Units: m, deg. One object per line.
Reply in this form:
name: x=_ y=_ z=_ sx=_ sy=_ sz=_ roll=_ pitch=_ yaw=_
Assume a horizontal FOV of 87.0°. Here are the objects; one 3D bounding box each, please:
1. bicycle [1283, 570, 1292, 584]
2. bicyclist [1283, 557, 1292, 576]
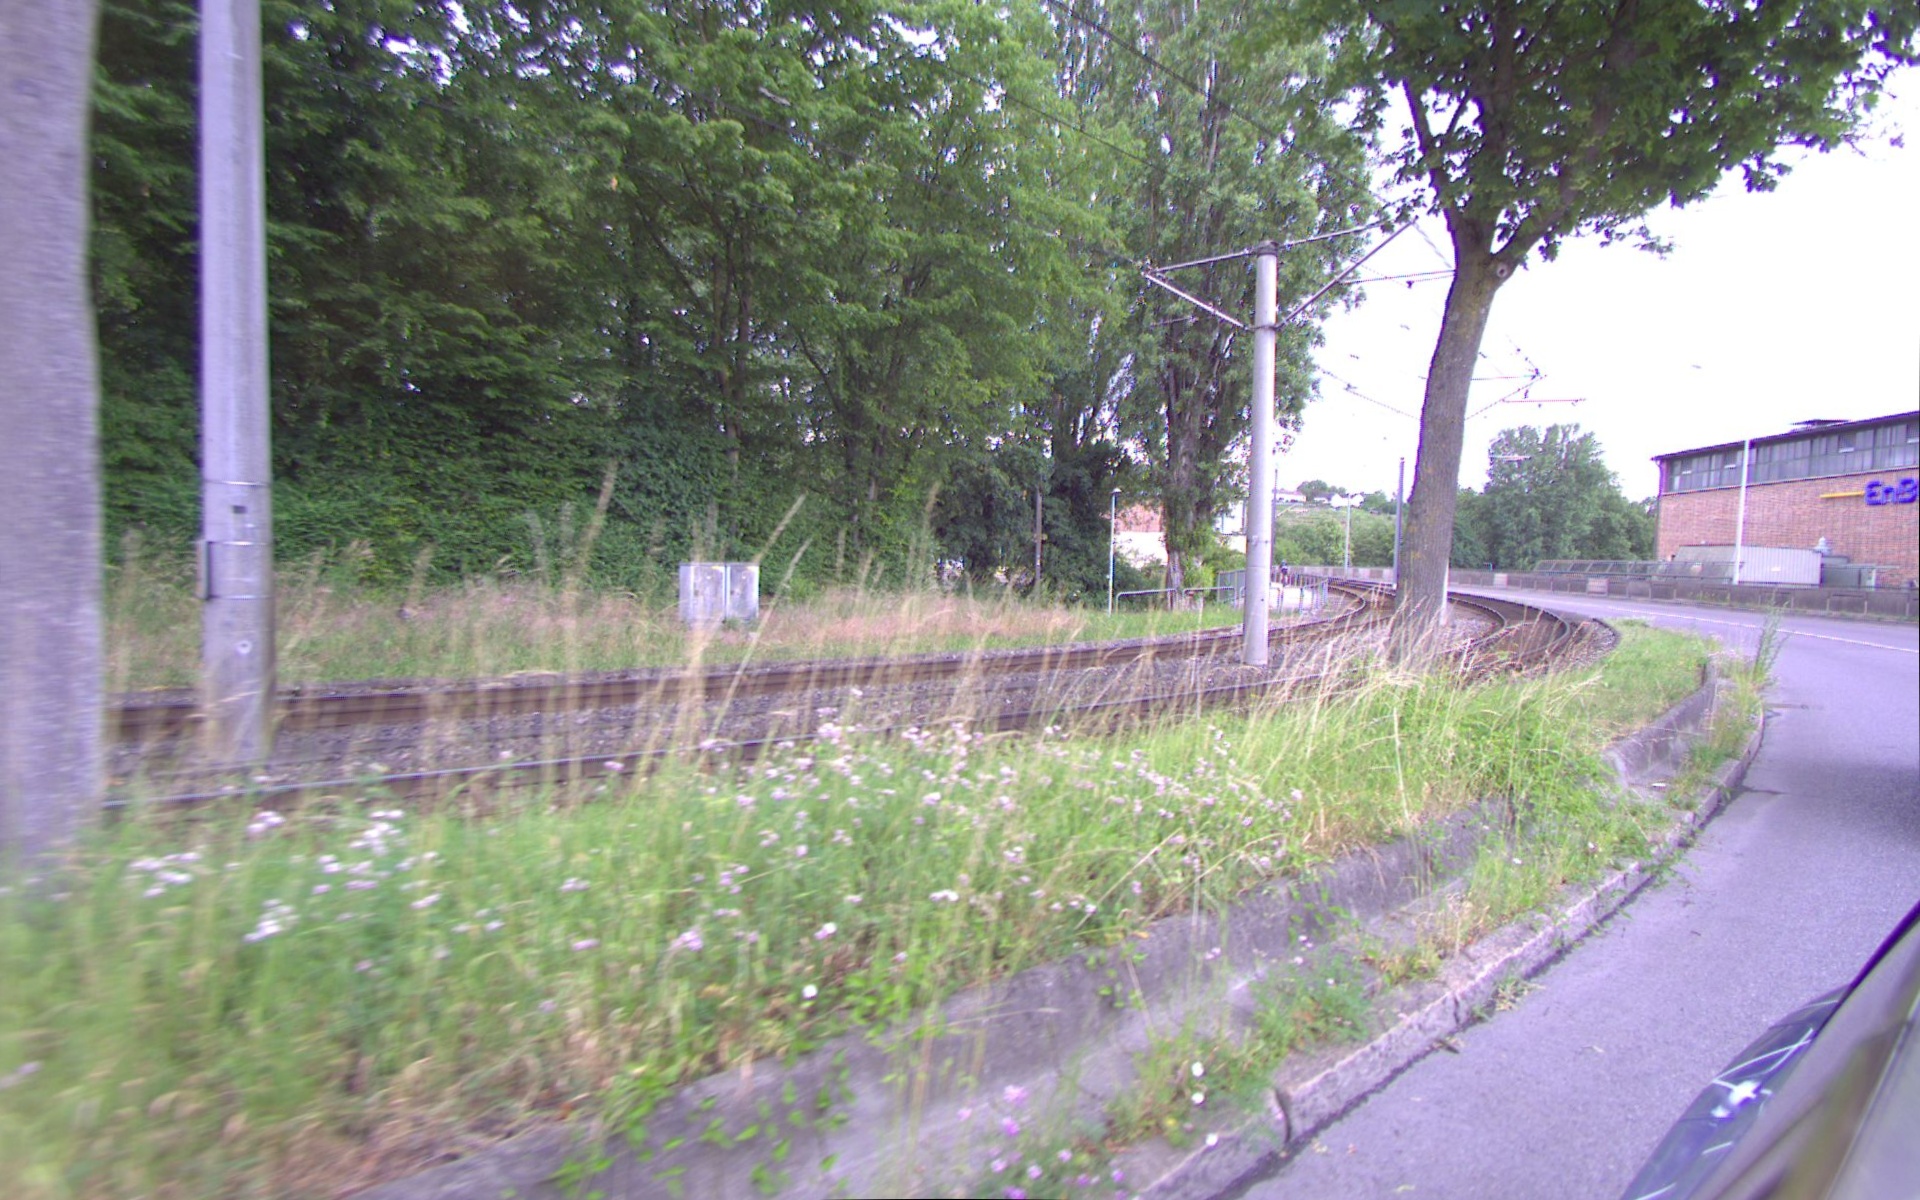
bicycle: x=18.872 y=-1.343 z=58.381 sx=0.344 sy=0.804 sz=1.536 roll=2 pitch=2 yaw=23
bicyclist: x=18.875 y=-1.924 z=58.348 sx=0.413 sy=1.097 sz=0.471 roll=2 pitch=2 yaw=23
